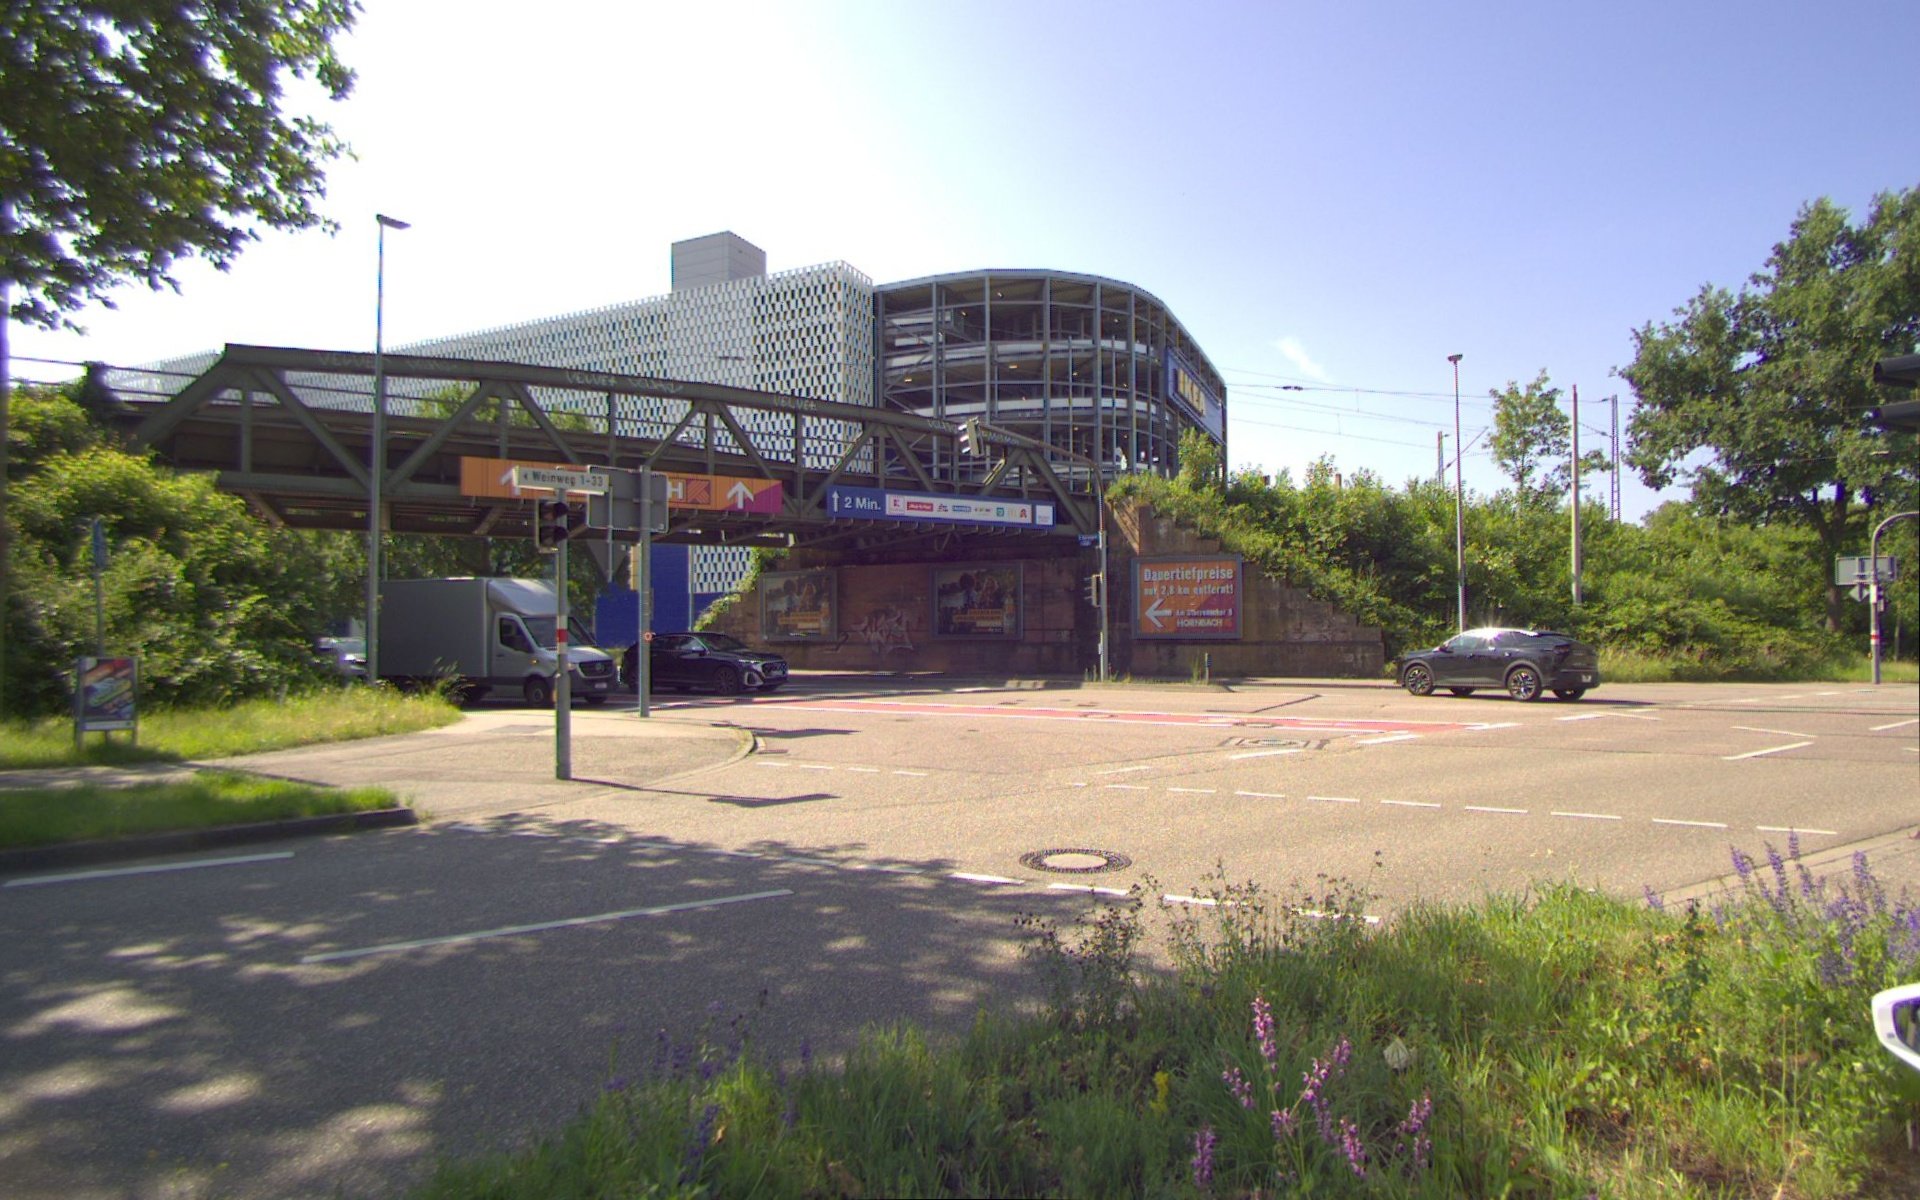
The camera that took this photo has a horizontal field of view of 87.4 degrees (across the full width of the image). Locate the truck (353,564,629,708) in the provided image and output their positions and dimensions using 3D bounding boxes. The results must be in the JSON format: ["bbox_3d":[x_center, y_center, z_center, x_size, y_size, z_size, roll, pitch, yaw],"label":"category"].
[{"bbox_3d":[-11.430,0.935,24.346,6.736,3.146,2.217,-2,-2,25],"label":"truck"}]

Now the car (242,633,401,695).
[{"bbox_3d":[-17.504,1.695,27.509,4.161,1.408,1.888,1,0,28],"label":"car"}]

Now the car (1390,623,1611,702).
[{"bbox_3d":[12.608,1.411,23.700,1.916,1.684,4.192,1,-2,-32],"label":"car"}]

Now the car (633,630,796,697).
[{"bbox_3d":[-6.598,1.696,27.038,3.925,1.668,1.903,-2,-2,25],"label":"car"}]
